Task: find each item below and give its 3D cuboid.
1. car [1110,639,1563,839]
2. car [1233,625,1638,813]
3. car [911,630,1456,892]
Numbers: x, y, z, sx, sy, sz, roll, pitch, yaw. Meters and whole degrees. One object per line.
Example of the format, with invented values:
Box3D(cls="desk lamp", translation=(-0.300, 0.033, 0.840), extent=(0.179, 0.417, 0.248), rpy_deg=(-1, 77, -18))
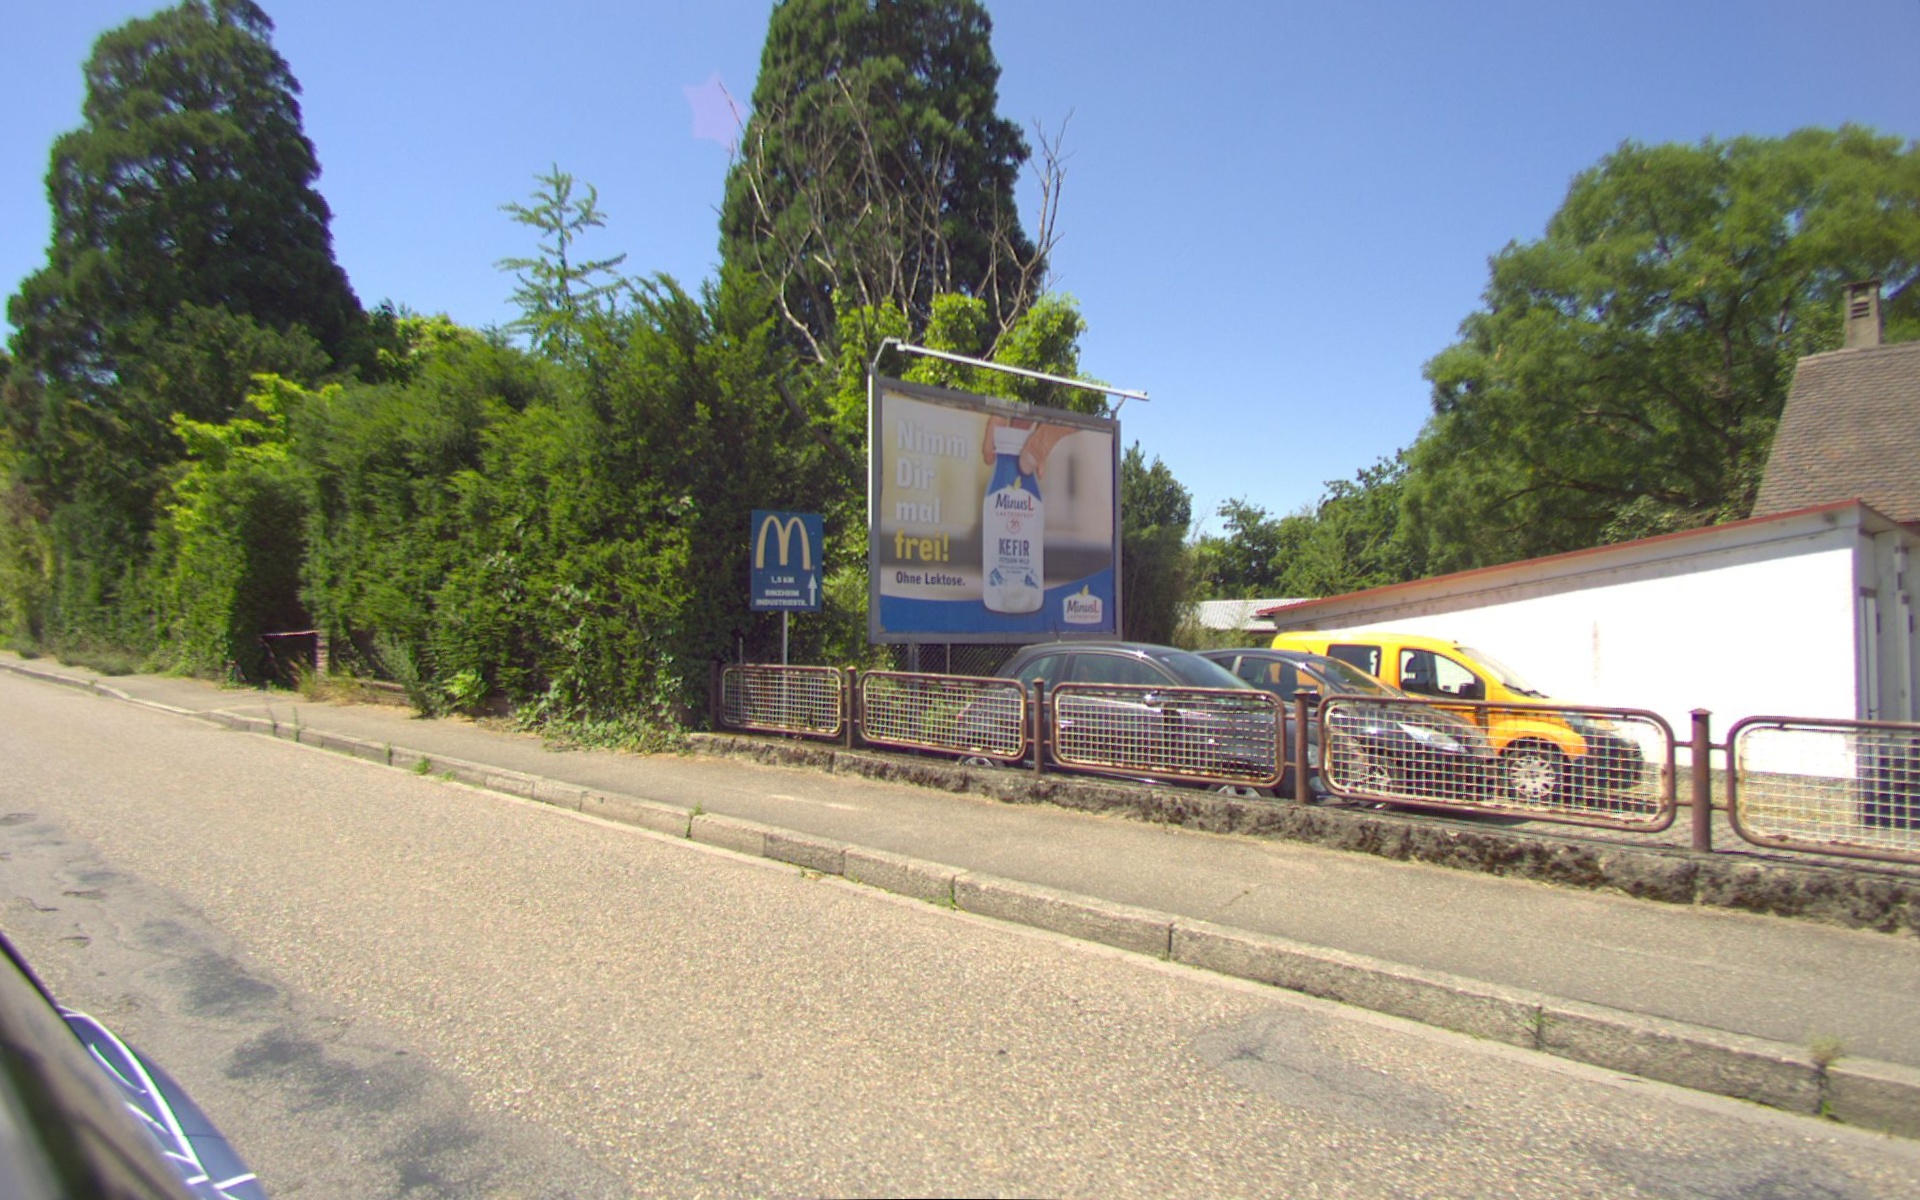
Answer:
Box3D(cls="car", translation=(3.674, 1.238, 10.426), extent=(1.772, 1.530, 4.006), rpy_deg=(4, -2, -41))
Box3D(cls="car", translation=(5.492, 1.239, 11.935), extent=(3.997, 1.755, 1.776), rpy_deg=(0, -2, 41))
Box3D(cls="car", translation=(1.675, 1.084, 8.309), extent=(3.997, 1.530, 1.776), rpy_deg=(0, -2, 41))
